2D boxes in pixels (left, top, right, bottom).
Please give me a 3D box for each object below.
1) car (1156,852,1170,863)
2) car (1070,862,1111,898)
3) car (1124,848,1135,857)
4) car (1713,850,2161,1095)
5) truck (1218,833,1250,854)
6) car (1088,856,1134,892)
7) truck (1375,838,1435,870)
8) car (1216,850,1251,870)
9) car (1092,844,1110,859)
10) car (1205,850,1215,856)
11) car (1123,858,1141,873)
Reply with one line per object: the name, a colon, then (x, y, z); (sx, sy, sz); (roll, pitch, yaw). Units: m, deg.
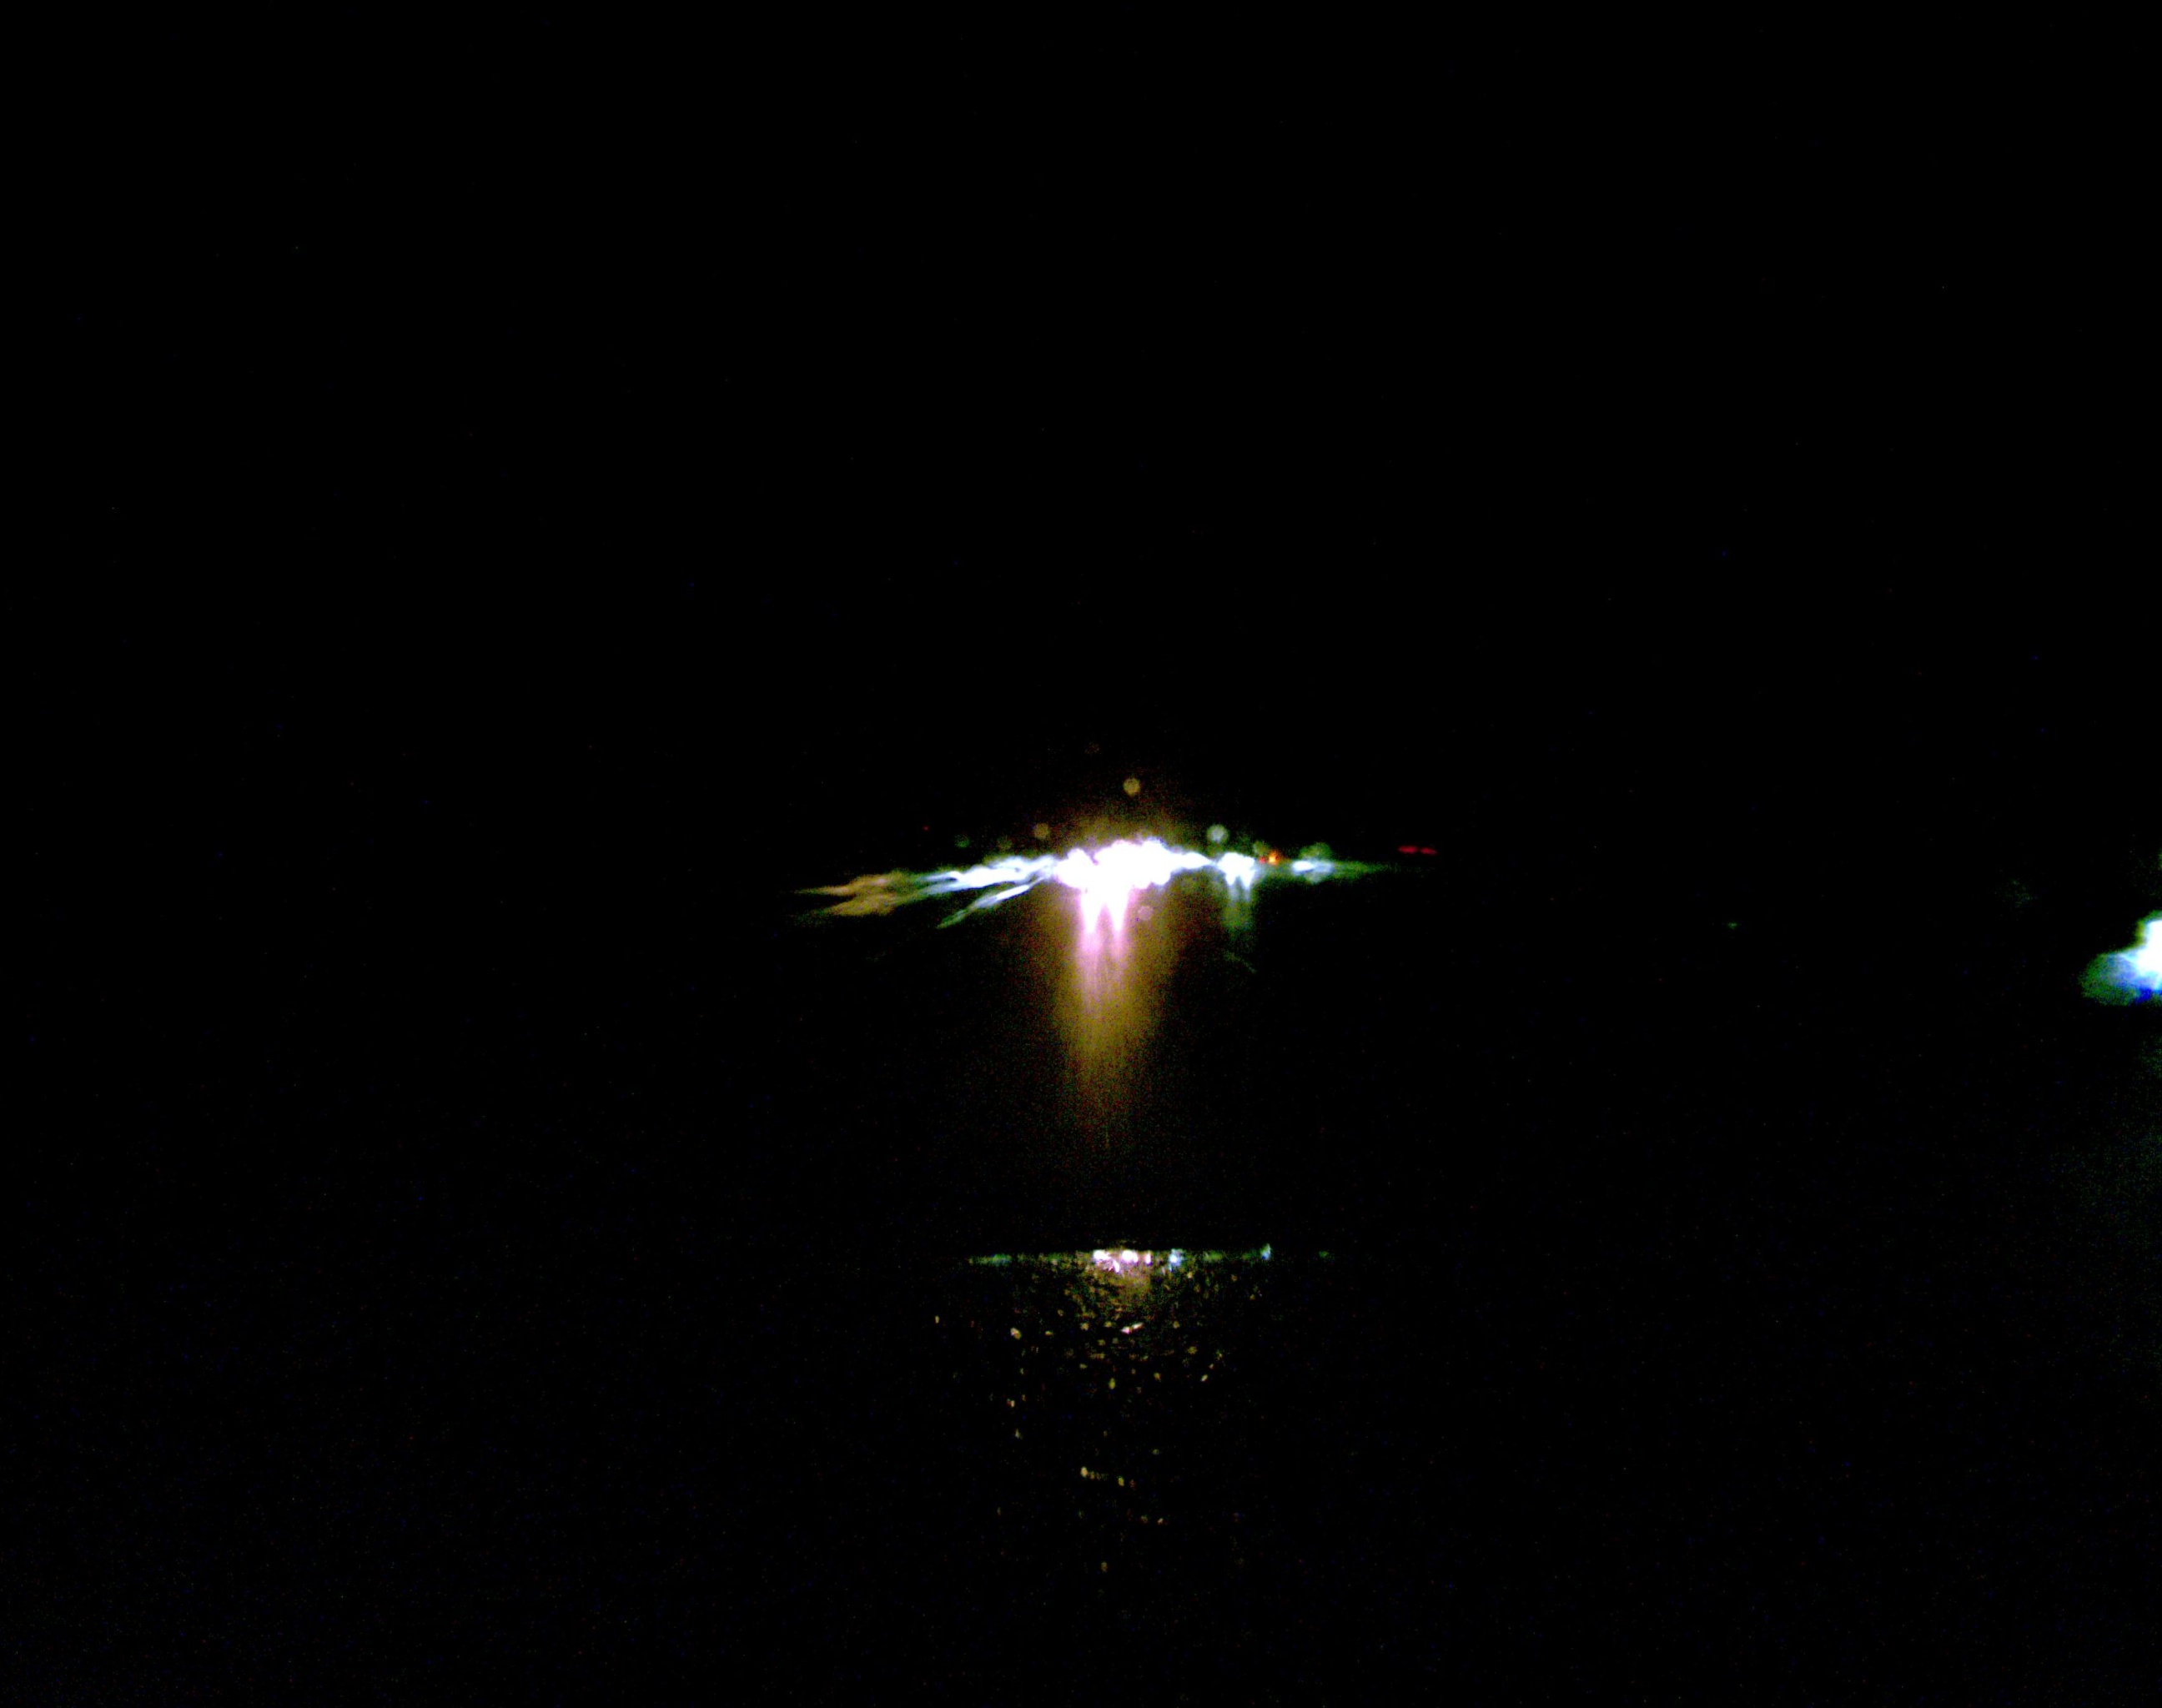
car: (14.177, 0.621, 131.545); (1.998, 1.797, 4.000); (-2, 1, 2)
car: (0.415, 1.036, 30.946); (1.525, 1.256, 3.369); (-2, 1, 1)
car: (10.150, -0.277, 159.468); (1.998, 1.797, 4.000); (-2, 1, 2)
car: (7.770, 0.734, 6.165); (1.998, 1.433, 4.000); (-2, 1, 1)
truck: (30.805, -2.137, 153.934); (3.508, 3.865, 17.180); (-2, 1, 2)
car: (1.410, 0.940, 36.134); (1.998, 1.542, 4.001); (-2, -2, 1)
truck: (25.732, -0.016, 60.594); (1.998, 2.334, 6.438); (-2, 1, 1)
car: (12.558, 0.469, 62.785); (1.998, 1.551, 4.588); (-2, 1, 2)
car: (2.180, -0.282, 83.992); (1.813, 1.477, 3.582); (-2, 1, 0)
car: (35.006, -0.184, 206.738); (1.884, 1.548, 4.460); (-2, 1, 1)
car: (6.150, 1.405, 92.500); (1.998, 1.551, 4.588); (-2, 1, 2)
